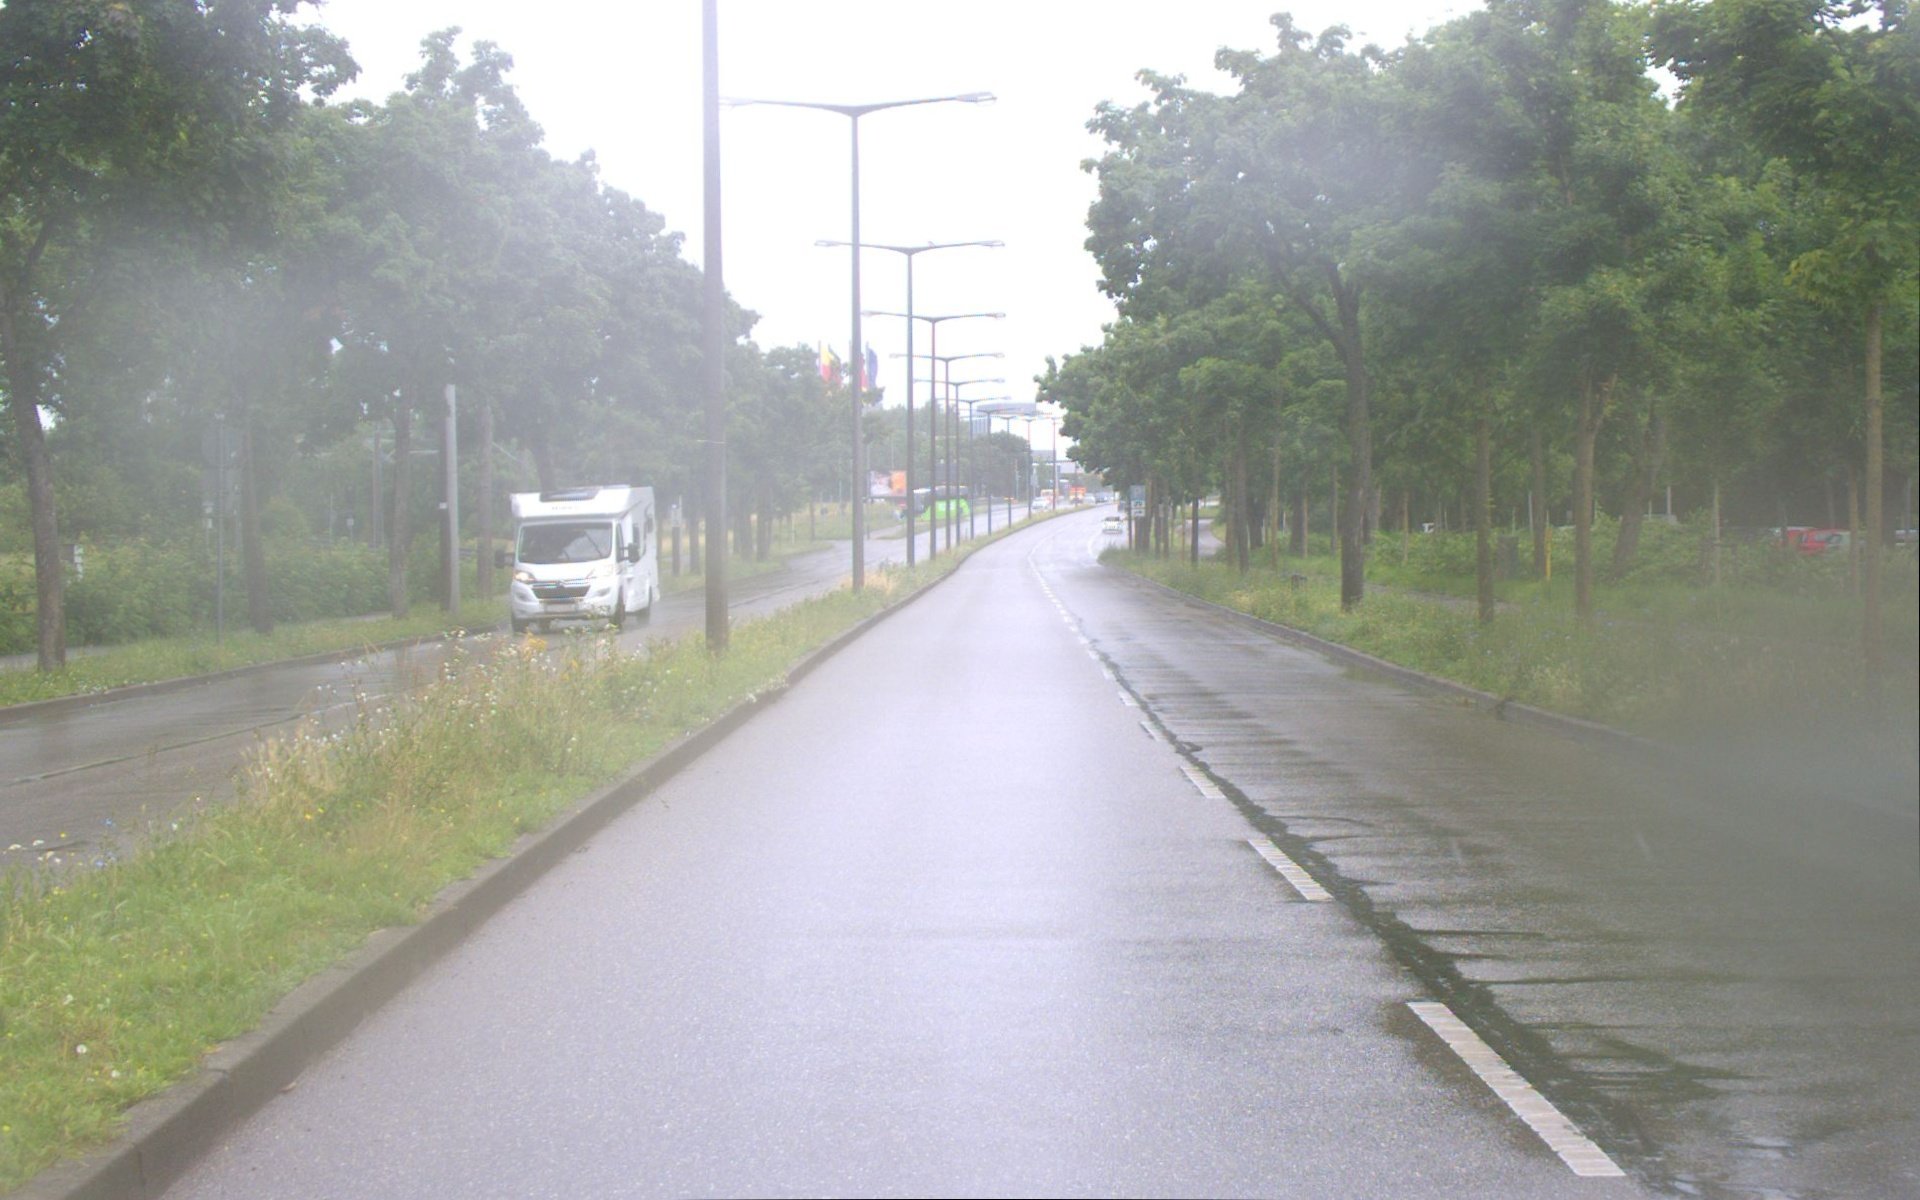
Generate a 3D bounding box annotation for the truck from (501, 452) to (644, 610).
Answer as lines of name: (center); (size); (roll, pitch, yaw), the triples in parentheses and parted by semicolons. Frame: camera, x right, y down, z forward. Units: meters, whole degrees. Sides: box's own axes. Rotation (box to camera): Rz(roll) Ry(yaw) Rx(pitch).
truck: (-7.349, -1.285, 65.698); (2.138, 2.834, 5.074); (-2, 0, -1)
